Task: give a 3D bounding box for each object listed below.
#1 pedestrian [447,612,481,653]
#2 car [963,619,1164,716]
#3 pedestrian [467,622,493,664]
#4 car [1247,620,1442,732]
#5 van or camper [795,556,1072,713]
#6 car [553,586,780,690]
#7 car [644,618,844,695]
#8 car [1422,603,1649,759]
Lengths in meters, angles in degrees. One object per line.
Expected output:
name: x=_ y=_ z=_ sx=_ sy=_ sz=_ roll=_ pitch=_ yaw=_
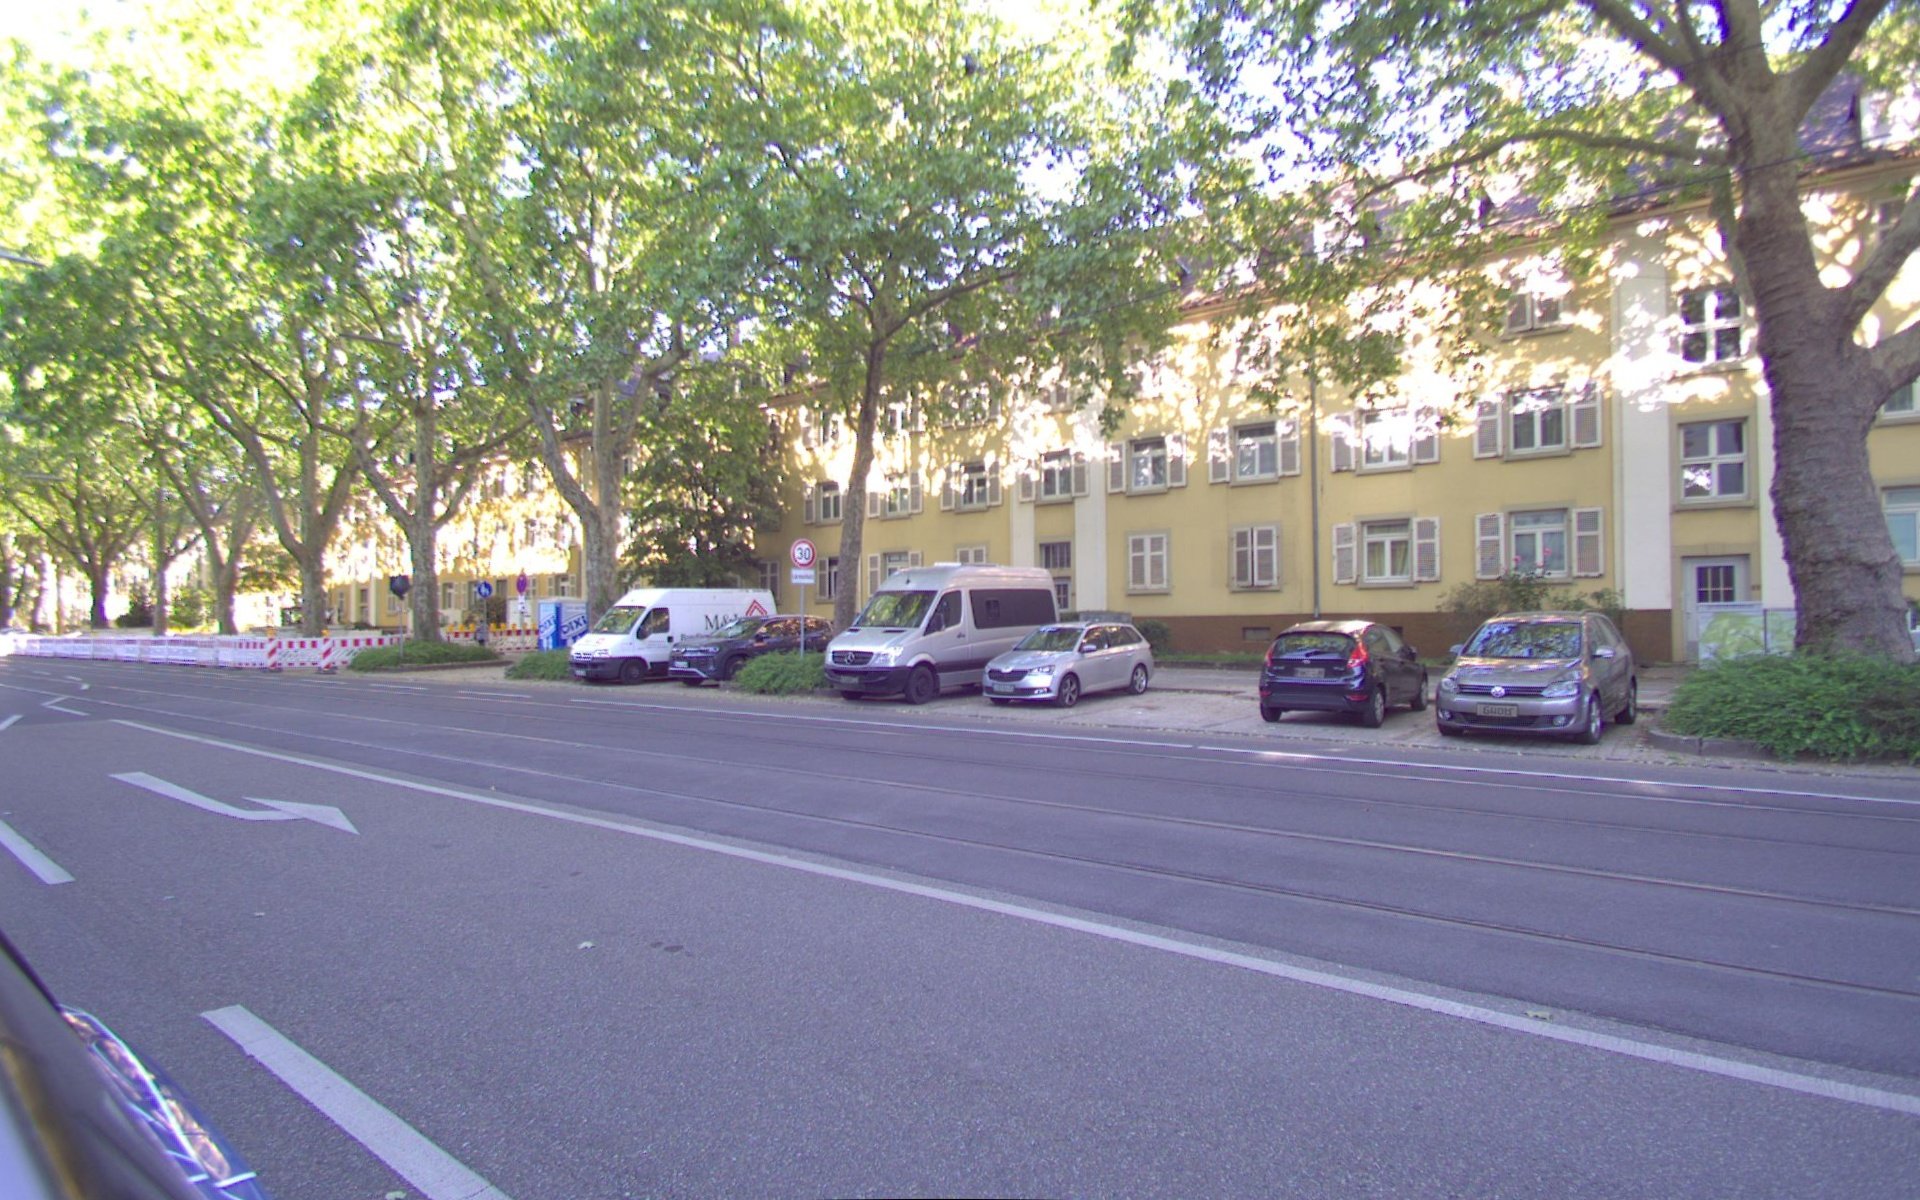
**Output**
pedestrian: x=-25.479 y=1.668 z=51.980 sx=1.233 sy=2.029 sz=1.085 roll=-2 pitch=-2 yaw=36
car: x=2.034 y=1.157 z=18.910 sx=1.729 sy=1.481 sz=4.102 roll=0 pitch=1 yaw=40
pedestrian: x=-18.428 y=1.641 z=38.869 sx=0.713 sy=1.585 sz=0.591 roll=-1 pitch=-2 yaw=25
car: x=5.904 y=1.047 z=15.332 sx=1.740 sy=1.440 sz=3.528 roll=-2 pitch=-1 yaw=39
van or camper: x=-0.318 y=0.612 z=20.495 sx=2.227 sy=2.697 sz=6.052 roll=-2 pitch=-1 yaw=38
car: x=-7.447 y=0.947 z=26.291 sx=2.023 sy=2.394 sz=5.543 roll=-2 pitch=-2 yaw=38
car: x=-5.093 y=1.273 z=24.372 sx=1.967 sy=1.643 sz=4.520 roll=-2 pitch=-2 yaw=38
car: x=7.734 y=0.926 z=13.419 sx=1.814 sy=1.617 sz=4.145 roll=-2 pitch=0 yaw=41
